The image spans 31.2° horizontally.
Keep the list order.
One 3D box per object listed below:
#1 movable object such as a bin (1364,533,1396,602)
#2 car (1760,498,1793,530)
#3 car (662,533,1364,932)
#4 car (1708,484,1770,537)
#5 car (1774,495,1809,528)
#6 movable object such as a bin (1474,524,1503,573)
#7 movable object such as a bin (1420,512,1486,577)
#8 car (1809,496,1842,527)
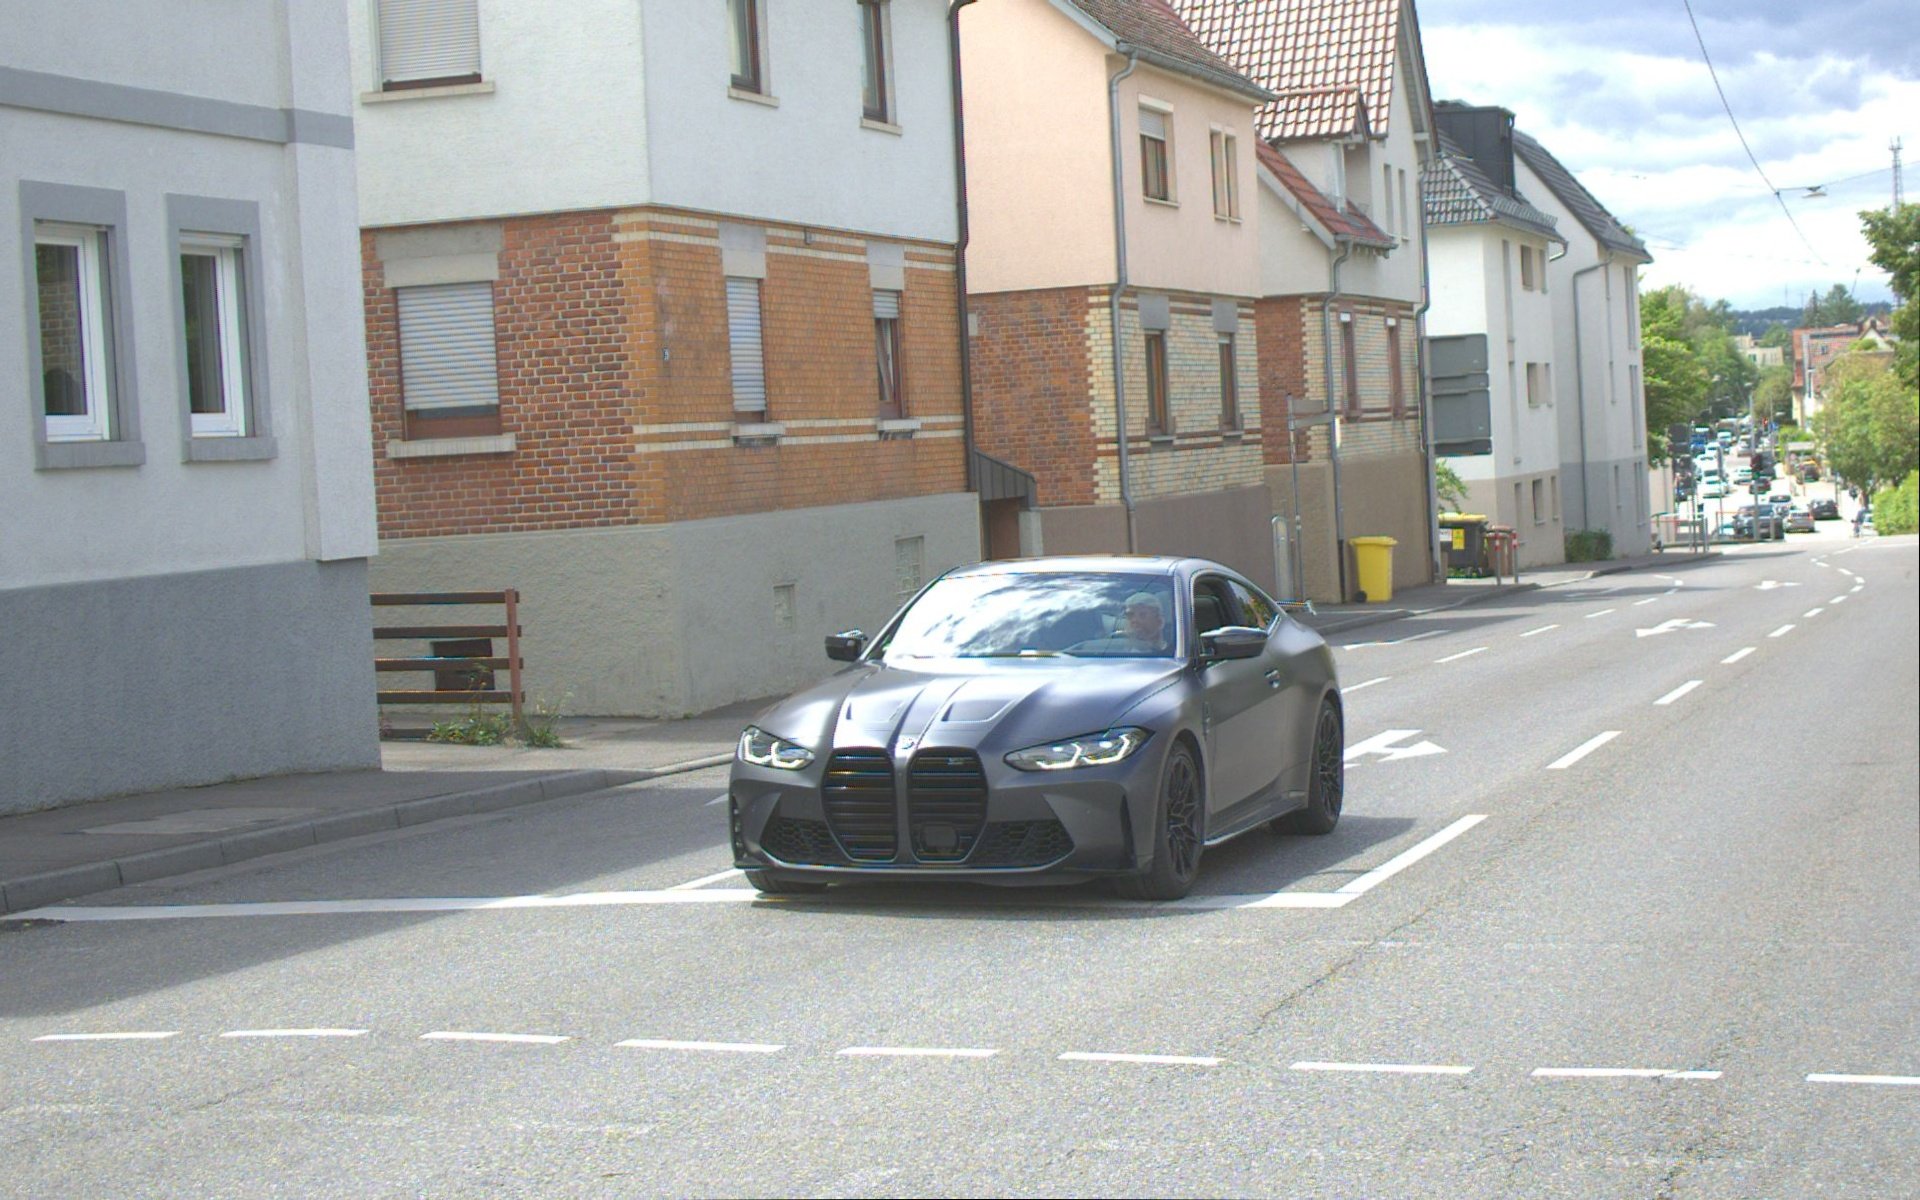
[{"bbox_3d":[6.950,-0.538,56.883,0.431,1.124,0.299,-3,1,16],"label":"movable object such as a bin"},{"bbox_3d":[54.611,-5.770,229.974,1.994,2.007,3.998,-3,0,13],"label":"car"},{"bbox_3d":[0.438,0.471,15.638,1.995,1.452,4.614,0,2,17],"label":"car"},{"bbox_3d":[30.791,-3.535,136.008,1.994,2.007,3.999,-2,1,8],"label":"car"},{"bbox_3d":[53.259,-5.654,220.242,1.994,2.007,3.998,-3,0,13],"label":"car"},{"bbox_3d":[11.289,-1.097,73.409,0.532,1.026,0.455,-2,1,16],"label":"movable object such as a bin"},{"bbox_3d":[10.396,-1.178,72.510,1.282,1.305,0.816,-2,1,12],"label":"movable object such as a bin"},{"bbox_3d":[58.839,-6.017,233.749,1.994,2.007,3.998,-3,0,13],"label":"car"}]
